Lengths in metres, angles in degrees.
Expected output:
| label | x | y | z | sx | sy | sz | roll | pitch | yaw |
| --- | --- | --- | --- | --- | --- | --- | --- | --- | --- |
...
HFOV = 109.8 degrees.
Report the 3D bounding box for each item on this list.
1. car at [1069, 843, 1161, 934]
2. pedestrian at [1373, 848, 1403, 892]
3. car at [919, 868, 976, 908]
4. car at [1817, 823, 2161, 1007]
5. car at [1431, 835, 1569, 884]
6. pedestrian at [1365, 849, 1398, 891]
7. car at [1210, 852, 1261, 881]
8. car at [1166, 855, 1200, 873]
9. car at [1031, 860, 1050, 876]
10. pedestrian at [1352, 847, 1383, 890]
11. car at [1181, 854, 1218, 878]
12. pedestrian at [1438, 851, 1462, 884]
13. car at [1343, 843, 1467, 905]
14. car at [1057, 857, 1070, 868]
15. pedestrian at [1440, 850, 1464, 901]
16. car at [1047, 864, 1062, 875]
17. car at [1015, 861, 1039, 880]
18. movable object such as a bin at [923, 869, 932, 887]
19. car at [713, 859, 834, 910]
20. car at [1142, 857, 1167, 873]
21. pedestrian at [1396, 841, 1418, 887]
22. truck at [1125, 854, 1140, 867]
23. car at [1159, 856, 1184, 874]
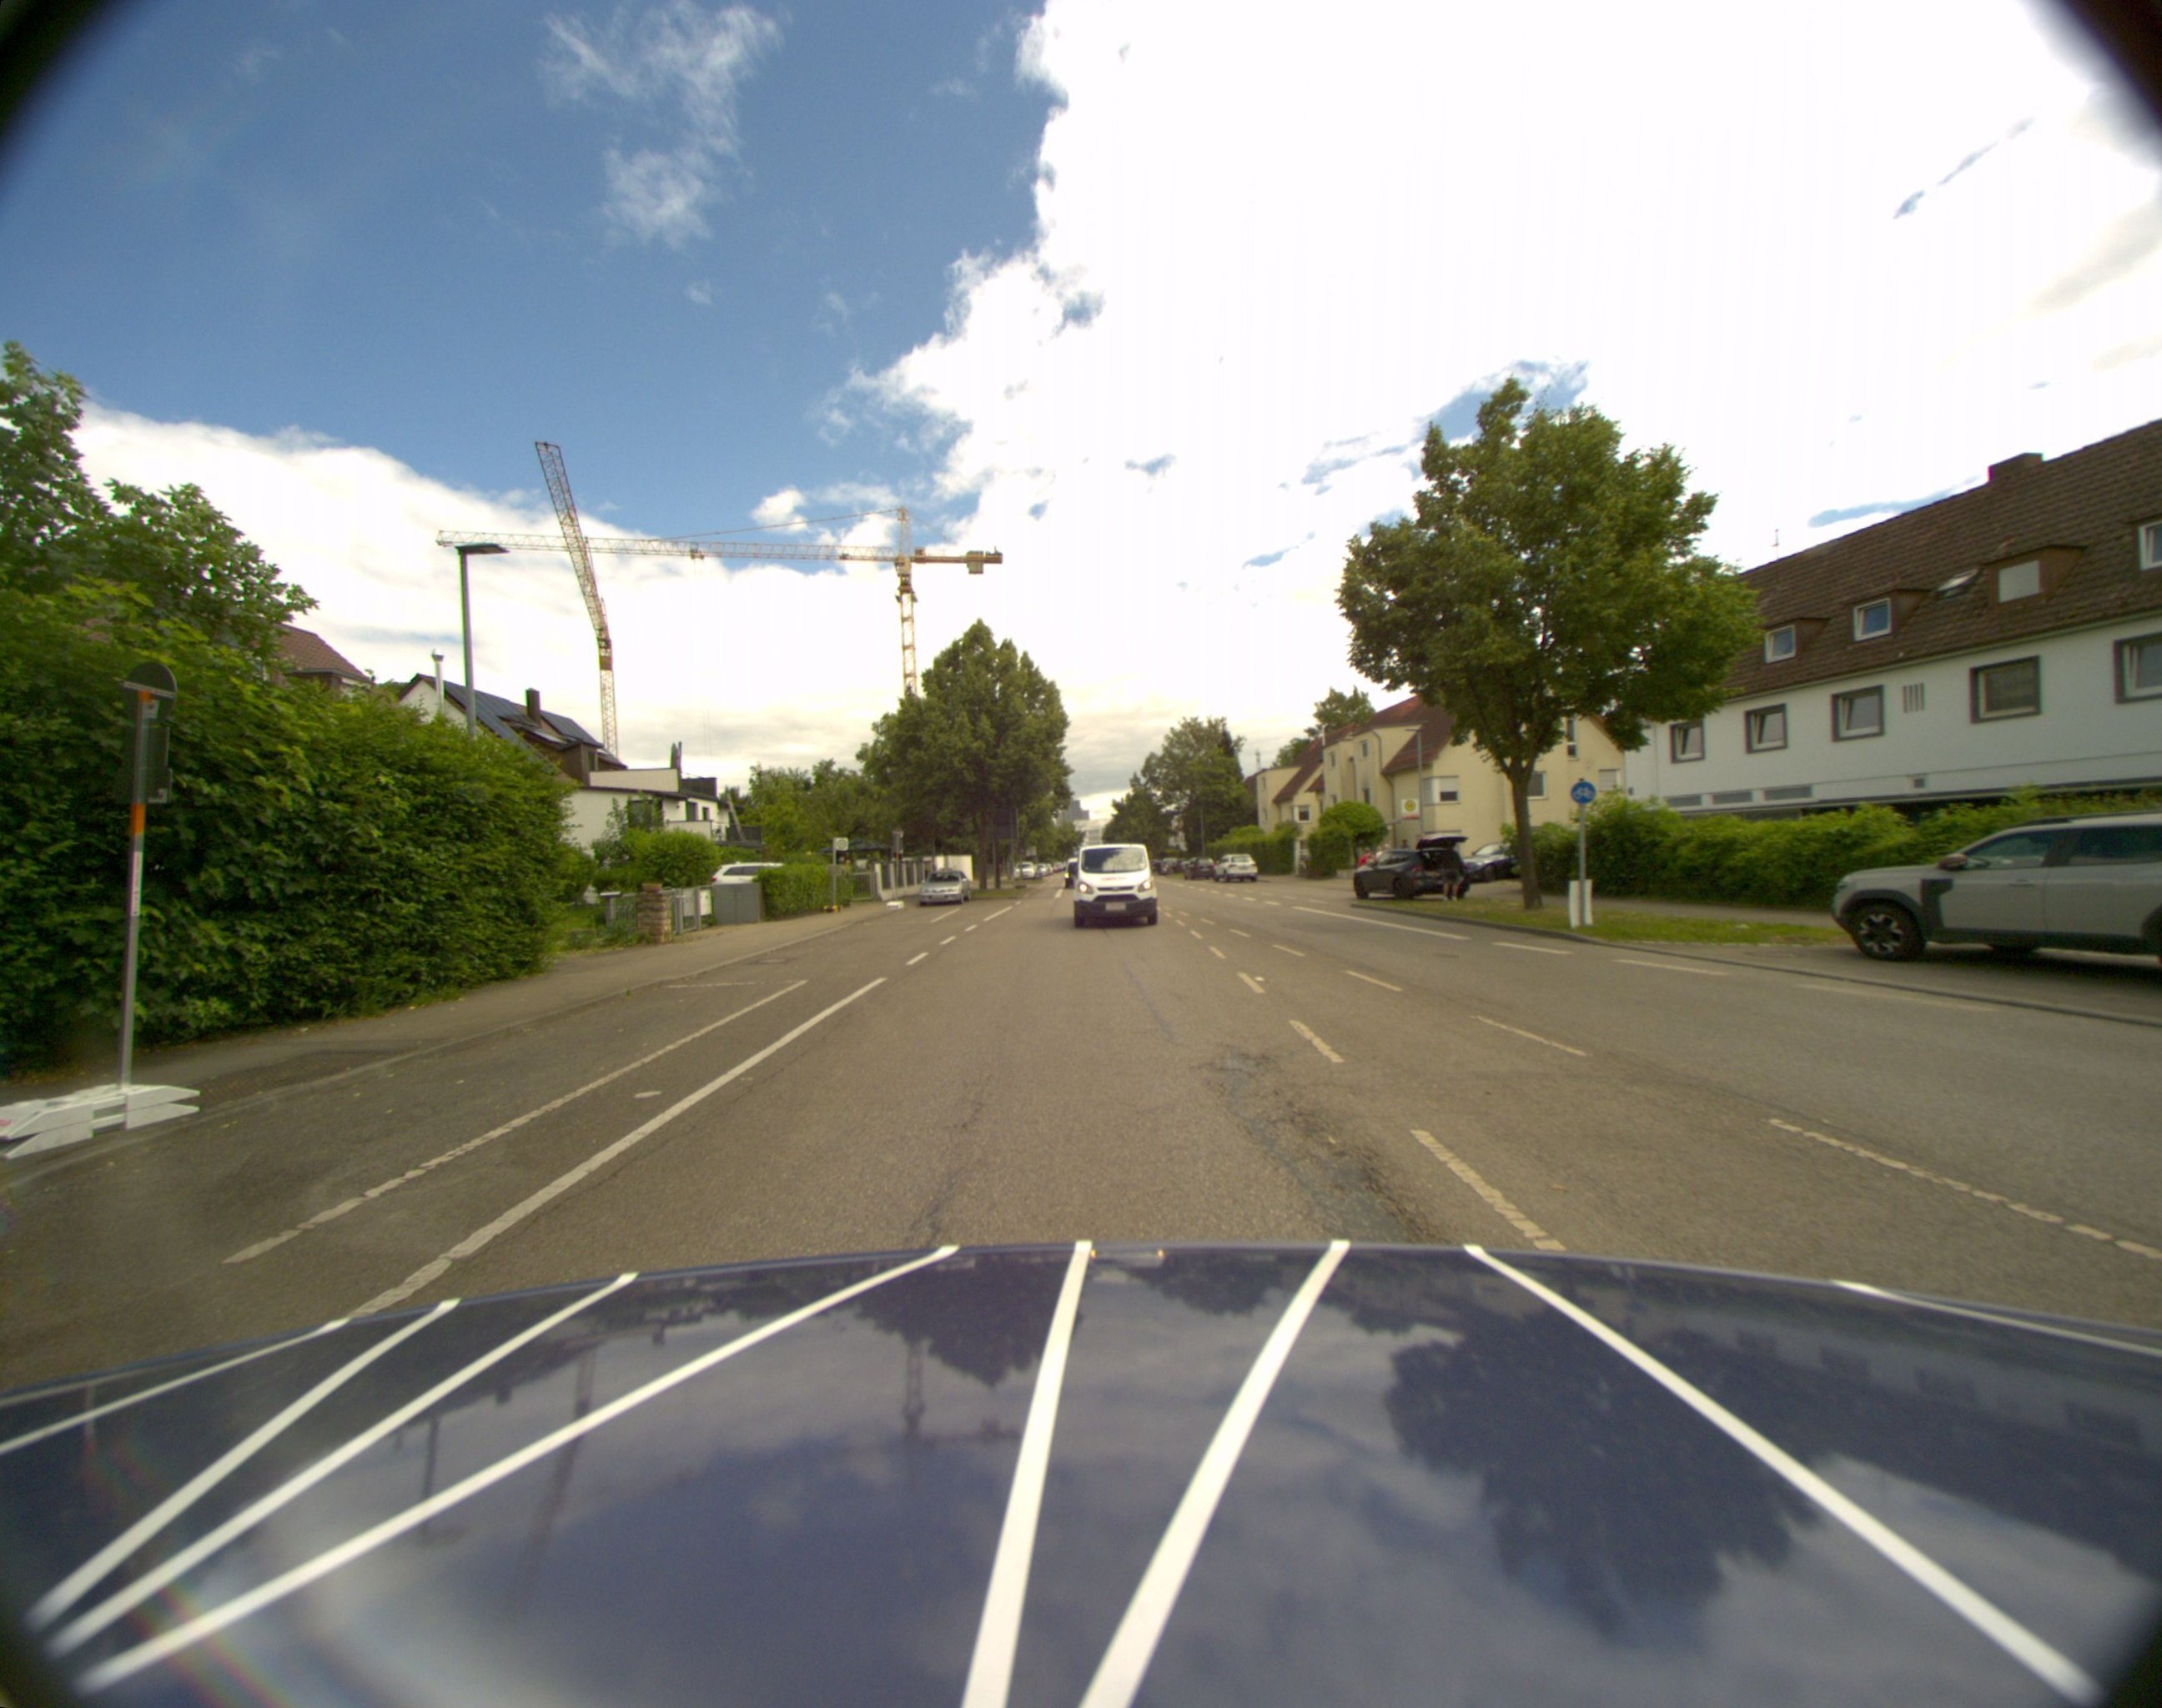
| label | x | y | z | sx | sy | sz | roll | pitch | yaw |
| --- | --- | --- | --- | --- | --- | --- | --- | --- | --- |
| car | 0.841 | 0.769 | 19.628 | 1.998 | 2.002 | 5.189 | -2 | 0 | 2 |
| pedestrian | 12.069 | 0.611 | 29.921 | 0.789 | 1.654 | 0.591 | -5 | 1 | -2 |
| car | -5.548 | 1.391 | 32.046 | 1.616 | 1.369 | 4.386 | -2 | 1 | 0 |
| car | 10.614 | 0.525 | 7.763 | 1.866 | 1.644 | 4.293 | -2 | 0 | -3 |
| car | 16.003 | 0.204 | 29.057 | 4.530 | 1.544 | 2.033 | -3 | 0 | -18 |
| pedestrian | 12.444 | 0.658 | 31.490 | 0.789 | 1.654 | 0.881 | -6 | 1 | -8 |
| car | 9.255 | 0.730 | 45.926 | 1.826 | 1.624 | 4.585 | -2 | 0 | -4 |
| car | 8.746 | 0.854 | 65.836 | 1.999 | 1.476 | 4.889 | -1 | 0 | -3 |
| car | -4.668 | 1.603 | 88.719 | 1.866 | 1.601 | 4.686 | -3 | 0 | 0 |
| pedestrian | 11.635 | 0.572 | 30.881 | 0.789 | 1.654 | 0.754 | -6 | 1 | -8 |
| car | 8.220 | 0.847 | 52.979 | 1.681 | 1.542 | 4.272 | -2 | 0 | -2 |
| pedestrian | 14.960 | 0.558 | 30.843 | 0.589 | 1.305 | 0.706 | -2 | 0 | 0 |
| car | 10.169 | 0.584 | 24.249 | 1.729 | 1.714 | 4.563 | -3 | 0 | -4 |
| car | -3.303 | 1.559 | 142.767 | 1.998 | 1.805 | 4.827 | -3 | 0 | 2 |
| pedestrian | 10.621 | 0.604 | 21.764 | 0.553 | 1.427 | 0.497 | -2 | 0 | 30 |
| car | -4.038 | 2.341 | 114.941 | 1.863 | 1.405 | 4.444 | -4 | -1 | 2 |
| car | -4.853 | 1.492 | 69.287 | 1.905 | 1.633 | 4.116 | -2 | 0 | -1 |
| movable object such as a bin | -9.072 | 1.405 | 44.946 | 0.437 | 1.016 | 0.454 | -2 | 0 | 0 |
| car | -12.271 | 1.186 | 30.553 | 3.998 | 1.812 | 1.999 | -2 | 0 | -3 |
| car | 8.154 | 1.207 | 85.168 | 2.101 | 1.637 | 5.038 | -1 | -1 | -2 |
| pedestrian | 13.017 | 0.383 | 30.366 | 0.505 | 1.795 | 0.671 | -2 | 0 | -1 |
| truck | 9.119 | 1.131 | 134.864 | 2.429 | 2.031 | 5.995 | -2 | 0 | 1 |
| car | 8.469 | 0.986 | 71.385 | 1.723 | 1.603 | 3.910 | -2 | 0 | -1 |
